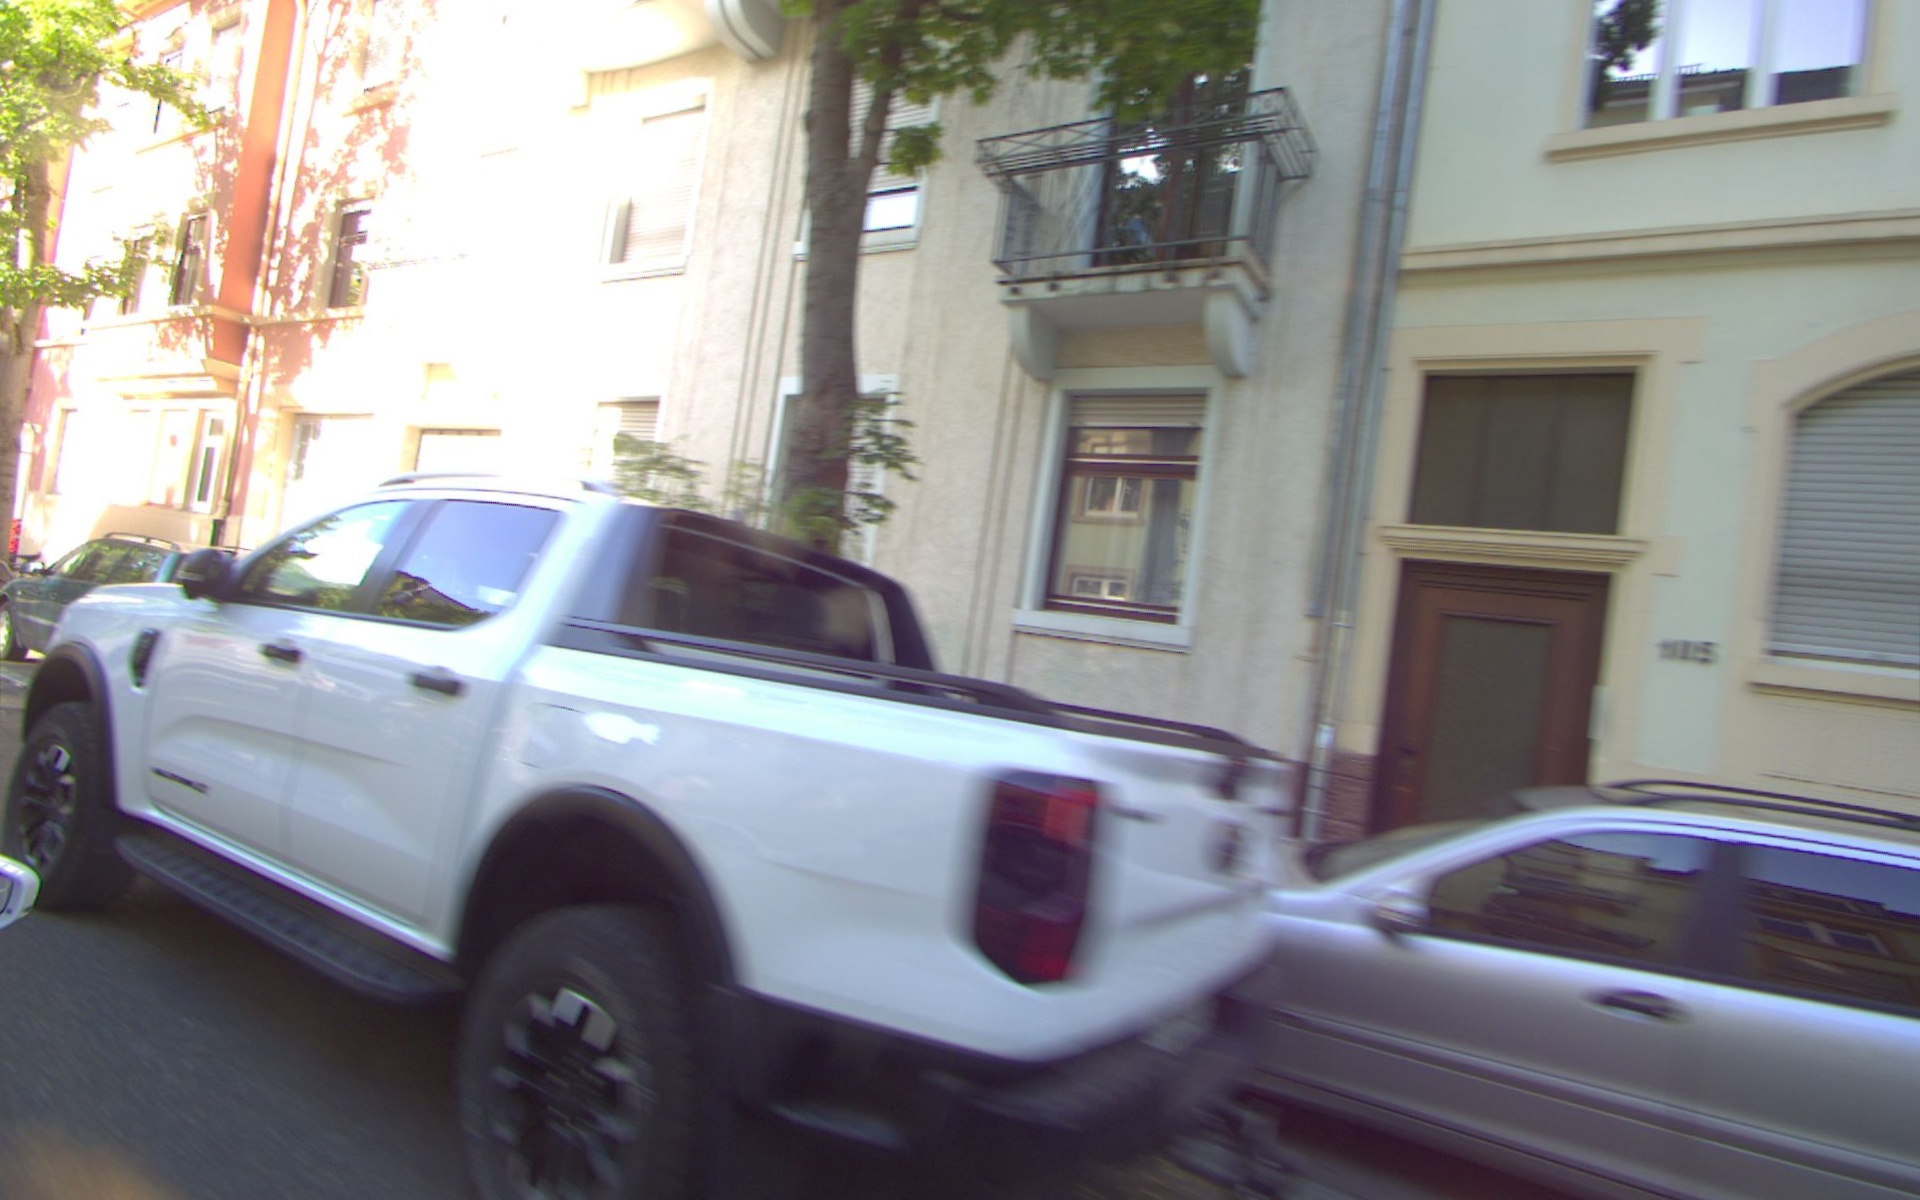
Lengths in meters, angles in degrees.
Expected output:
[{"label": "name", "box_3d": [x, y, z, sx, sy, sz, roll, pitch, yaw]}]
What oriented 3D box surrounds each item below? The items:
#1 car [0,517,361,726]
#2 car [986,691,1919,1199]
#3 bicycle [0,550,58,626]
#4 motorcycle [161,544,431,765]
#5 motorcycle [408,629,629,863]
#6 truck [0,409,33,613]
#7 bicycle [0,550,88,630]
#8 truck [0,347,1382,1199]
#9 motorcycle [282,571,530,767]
[{"label": "car", "box_3d": [-8.386, 0.145, 10.386, 4.704, 1.547, 1.754, 6, -3, 33]}, {"label": "car", "box_3d": [2.458, 1.371, 3.560, 4.357, 1.438, 1.683, 7, -2, 32]}, {"label": "bicycle", "box_3d": [-14.077, -0.253, 14.245, 0.694, 1.010, 1.709, 7, -4, 26]}, {"label": "motorcycle", "box_3d": [-5.527, 0.426, 8.344, 2.103, 1.502, 0.932, 6, -3, 33]}, {"label": "motorcycle", "box_3d": [-2.819, 0.886, 6.662, 0.690, 1.253, 1.765, 9, -3, -7]}, {"label": "truck", "box_3d": [-17.261, -1.680, 15.880, 6.007, 3.004, 2.077, 7, 0, 31]}, {"label": "bicycle", "box_3d": [-13.013, -0.198, 13.508, 0.570, 0.959, 1.789, 7, -4, 33]}, {"label": "truck", "box_3d": [-1.608, 0.463, 3.713, 5.450, 1.969, 1.833, 6, -4, 32]}, {"label": "motorcycle", "box_3d": [-5.072, 0.603, 9.160, 2.198, 1.431, 0.863, 6, -4, 33]}]
